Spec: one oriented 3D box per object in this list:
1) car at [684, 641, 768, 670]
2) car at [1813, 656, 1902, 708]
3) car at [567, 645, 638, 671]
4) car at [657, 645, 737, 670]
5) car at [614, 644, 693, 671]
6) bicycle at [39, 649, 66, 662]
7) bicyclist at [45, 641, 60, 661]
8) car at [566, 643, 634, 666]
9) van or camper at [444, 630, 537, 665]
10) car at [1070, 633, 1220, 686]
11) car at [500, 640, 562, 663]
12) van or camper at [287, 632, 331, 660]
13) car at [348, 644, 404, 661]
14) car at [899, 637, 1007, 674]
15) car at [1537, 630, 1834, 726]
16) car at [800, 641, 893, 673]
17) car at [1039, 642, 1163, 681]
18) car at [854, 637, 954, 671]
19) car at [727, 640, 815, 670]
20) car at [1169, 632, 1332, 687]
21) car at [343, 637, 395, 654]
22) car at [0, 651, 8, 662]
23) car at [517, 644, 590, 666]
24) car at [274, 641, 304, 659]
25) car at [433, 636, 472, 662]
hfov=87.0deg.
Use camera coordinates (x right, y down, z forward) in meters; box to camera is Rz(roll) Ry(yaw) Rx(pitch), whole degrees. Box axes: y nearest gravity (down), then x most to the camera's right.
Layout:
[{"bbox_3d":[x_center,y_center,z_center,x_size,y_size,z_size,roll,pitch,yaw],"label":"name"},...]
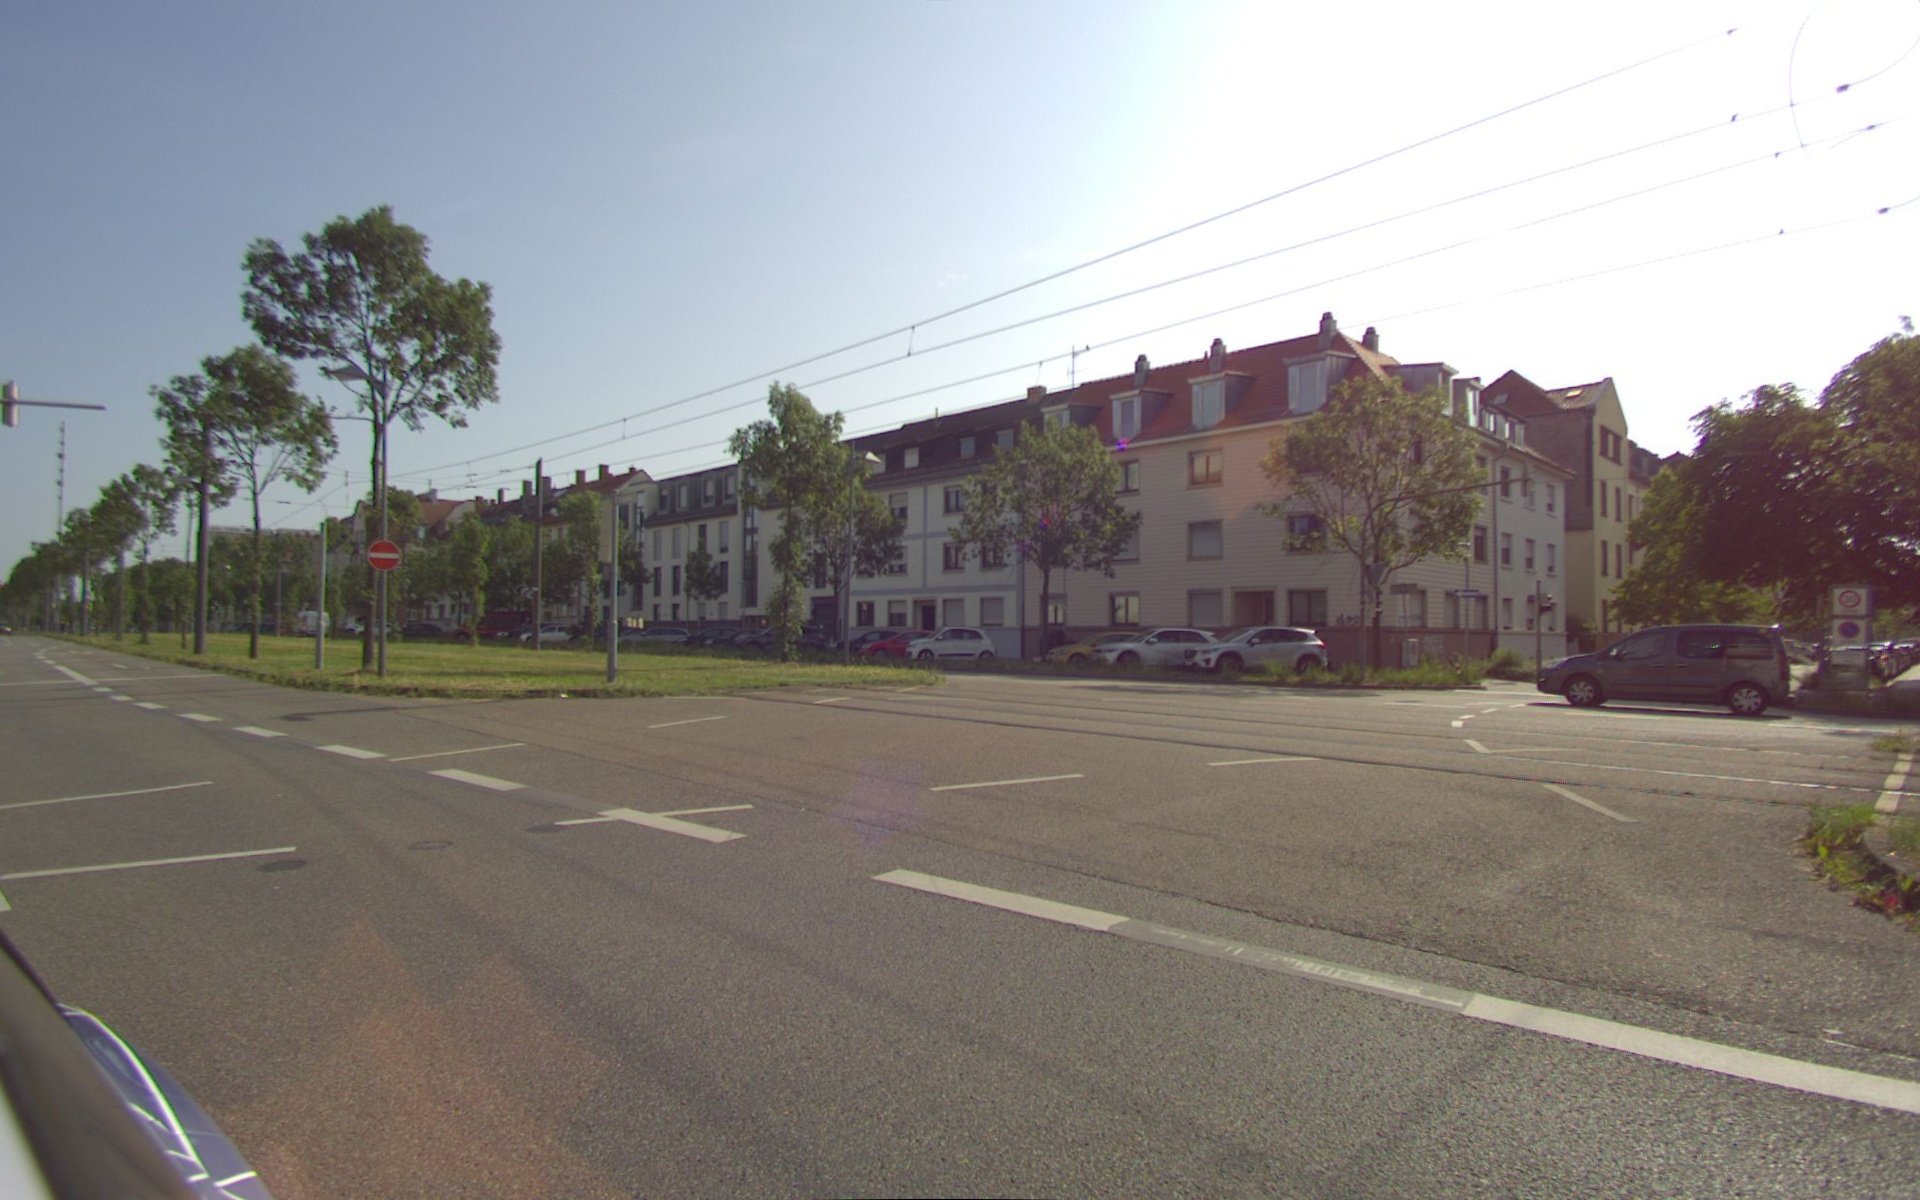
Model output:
[{"bbox_3d":[-11.803,2.766,51.060,3.931,1.298,2.006,-1,-1,-19],"label":"car"},{"bbox_3d":[32.900,2.936,37.059,3.939,1.618,2.001,0,-2,-43],"label":"car"},{"bbox_3d":[-21.504,3.493,60.982,3.931,1.386,1.933,-1,-1,-18],"label":"car"},{"bbox_3d":[-13.915,3.037,53.529,3.931,1.298,2.006,1,-3,-19],"label":"car"},{"bbox_3d":[-17.799,3.312,58.757,4.265,1.386,2.006,-1,-1,-19],"label":"car"},{"bbox_3d":[-82.511,5.021,91.985,1.723,1.155,0.578,2,-3,-35],"label":"bicycle"},{"bbox_3d":[-82.556,4.654,92.034,0.856,1.836,0.910,2,-3,-34],"label":"bicyclist"},{"bbox_3d":[-22.495,3.416,63.388,3.931,1.386,1.841,1,-3,-18],"label":"car"},{"bbox_3d":[-35.901,3.625,77.518,6.065,2.566,2.418,0,-2,-7],"label":"van or camper"},{"bbox_3d":[6.023,1.925,33.269,4.394,1.526,2.003,-1,-1,-8],"label":"car"},{"bbox_3d":[-29.702,3.536,70.139,3.660,1.445,1.645,-1,-2,-12],"label":"car"},{"bbox_3d":[-61.489,4.375,95.530,2.117,2.493,6.062,4,-5,-45],"label":"van or camper"},{"bbox_3d":[-56.524,5.085,98.014,4.298,1.486,1.860,-1,-1,-7],"label":"car"},{"bbox_3d":[-0.315,2.192,40.394,3.932,1.279,1.892,-1,-1,-15],"label":"car"},{"bbox_3d":[14.634,1.543,20.617,4.709,1.719,1.973,-2,-5,40],"label":"car"},{"bbox_3d":[-5.048,2.524,44.791,3.934,1.244,1.703,-1,-1,-11],"label":"car"},{"bbox_3d":[4.873,2.142,35.431,3.940,1.187,2.002,-1,-1,-4],"label":"car"},{"bbox_3d":[-2.371,2.252,42.556,3.934,1.268,1.880,-1,-1,-12],"label":"car"},{"bbox_3d":[-9.236,2.658,49.436,3.990,1.298,2.006,-1,-1,-17],"label":"car"},{"bbox_3d":[8.824,1.780,30.874,4.281,1.474,1.968,-1,-1,-11],"label":"car"},{"bbox_3d":[-58.389,4.525,100.071,4.035,1.541,1.816,-1,-1,-7],"label":"car"},{"bbox_3d":[-142.466,8.372,149.868,1.970,1.675,4.002,2,-4,-45],"label":"car"},{"bbox_3d":[-27.251,3.687,67.916,4.327,1.330,1.738,-1,-2,-12],"label":"car"},{"bbox_3d":[-66.496,4.954,100.257,1.794,1.751,4.165,2,-4,-43],"label":"car"},{"bbox_3d":[-50.785,4.878,101.177,1.970,2.482,5.583,0,-2,-43],"label":"car"}]
